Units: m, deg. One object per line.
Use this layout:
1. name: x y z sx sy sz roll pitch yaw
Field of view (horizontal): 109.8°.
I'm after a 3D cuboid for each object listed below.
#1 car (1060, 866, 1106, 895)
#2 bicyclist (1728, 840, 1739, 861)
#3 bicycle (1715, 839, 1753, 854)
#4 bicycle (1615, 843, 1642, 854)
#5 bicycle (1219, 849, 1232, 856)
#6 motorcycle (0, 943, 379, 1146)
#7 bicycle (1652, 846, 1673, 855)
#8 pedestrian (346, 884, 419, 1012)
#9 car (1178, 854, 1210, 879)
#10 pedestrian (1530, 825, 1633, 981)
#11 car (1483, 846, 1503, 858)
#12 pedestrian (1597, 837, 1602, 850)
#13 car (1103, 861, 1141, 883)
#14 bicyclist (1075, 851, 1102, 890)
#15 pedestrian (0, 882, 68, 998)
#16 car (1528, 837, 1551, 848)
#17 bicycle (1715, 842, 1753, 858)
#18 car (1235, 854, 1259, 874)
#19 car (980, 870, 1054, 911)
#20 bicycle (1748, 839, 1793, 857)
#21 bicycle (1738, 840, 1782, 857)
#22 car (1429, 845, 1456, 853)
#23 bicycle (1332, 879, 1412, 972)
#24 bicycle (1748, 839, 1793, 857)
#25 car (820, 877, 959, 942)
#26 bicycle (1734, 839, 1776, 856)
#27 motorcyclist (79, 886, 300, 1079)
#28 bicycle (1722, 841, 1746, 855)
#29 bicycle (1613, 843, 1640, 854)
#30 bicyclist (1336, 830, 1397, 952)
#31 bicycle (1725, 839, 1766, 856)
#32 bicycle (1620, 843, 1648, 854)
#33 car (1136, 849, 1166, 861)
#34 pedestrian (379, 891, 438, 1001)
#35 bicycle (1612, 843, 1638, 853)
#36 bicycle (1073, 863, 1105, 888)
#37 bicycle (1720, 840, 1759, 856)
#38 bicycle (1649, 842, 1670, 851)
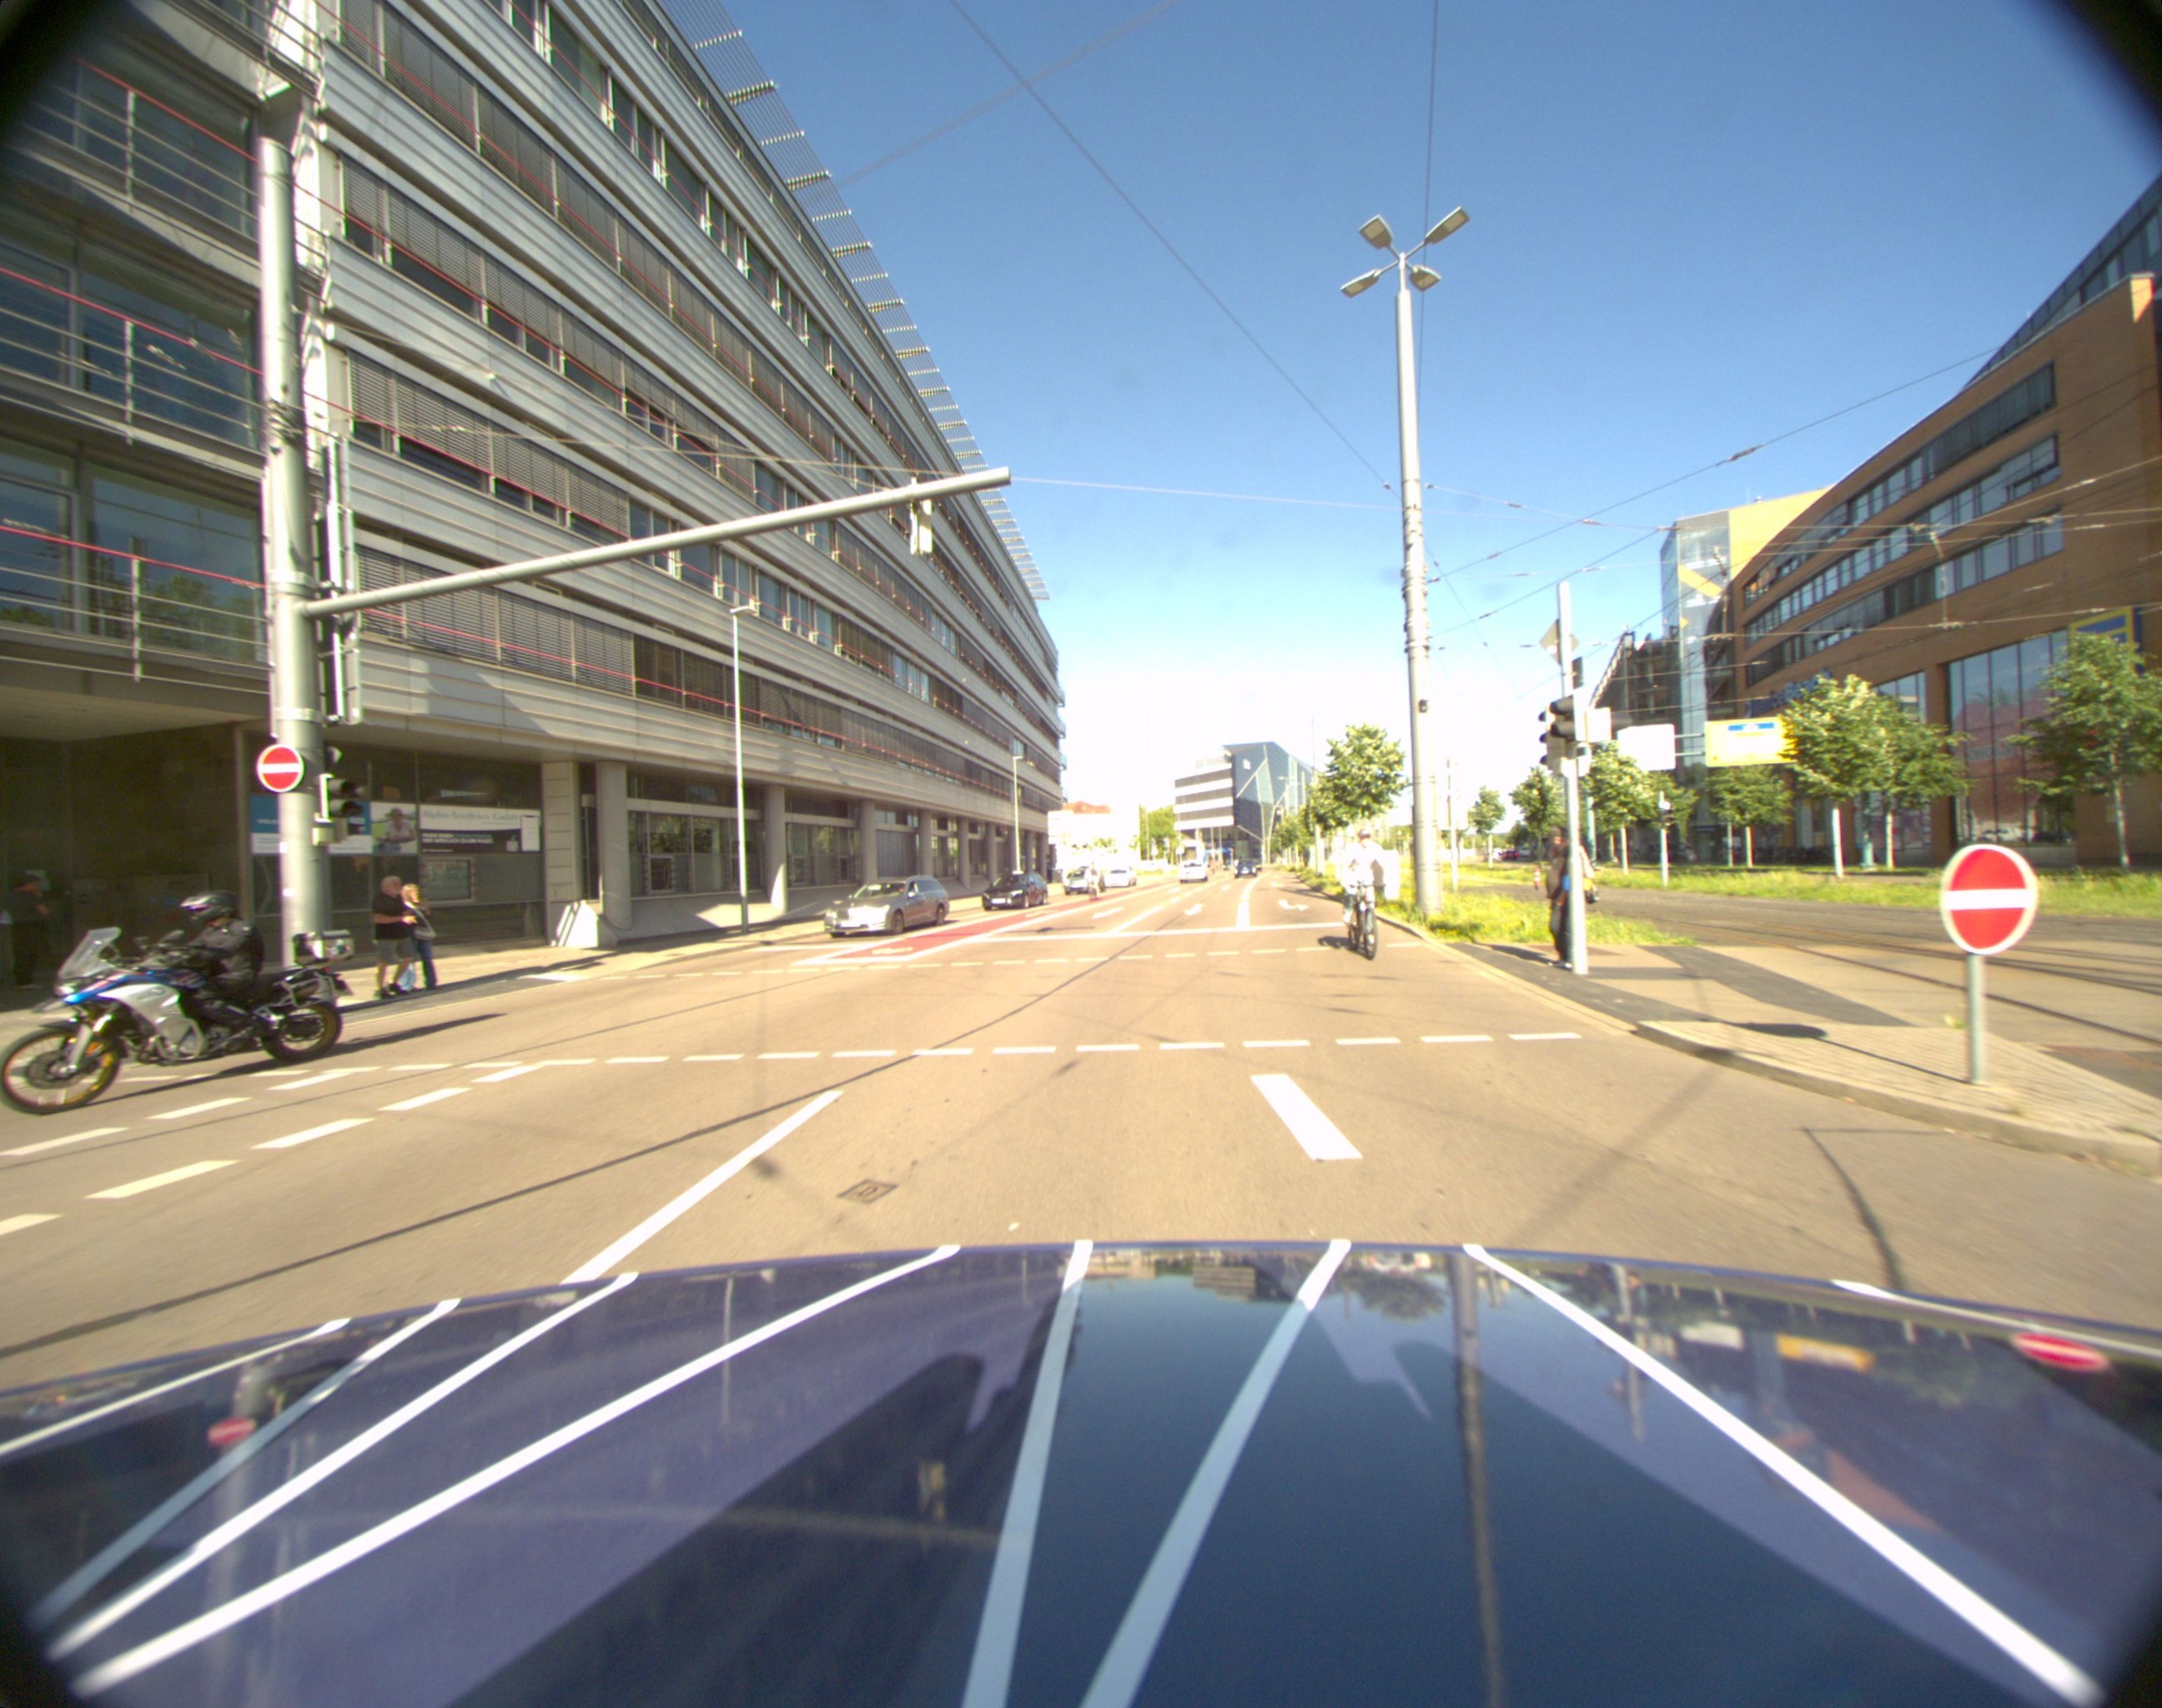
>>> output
1. car: 0.162 1.547 45.936 1.724 1.515 4.403 -2 0 14
2. bicyclist: 43.602 -0.246 50.760 0.341 1.369 0.482 -2 2 12
3. bicycle: 52.829 -0.582 61.500 2.175 1.116 0.754 -3 0 23
4. bicycle: 56.445 -0.565 78.361 2.175 0.949 0.493 -3 0 23
5. bicycle: 20.983 -0.164 110.246 1.703 0.948 0.698 -1 0 28
6. motorcycle: -8.033 1.564 6.847 0.830 1.194 2.392 -3 0 13
7. bicycle: 54.154 -0.325 70.719 1.448 0.814 0.446 -3 0 23
8. pedestrian: -10.270 1.347 11.194 0.609 1.787 0.639 0 0 -23
9. car: 8.506 0.888 56.856 1.871 1.621 4.342 -2 1 14
10. pedestrian: 5.900 0.556 8.989 0.671 1.742 0.769 -2 0 1
11. car: 48.804 -0.270 90.015 1.430 1.351 3.299 -2 0 16
12. pedestrian: 61.103 -1.194 89.522 0.490 1.510 0.650 -2 1 33
13. car: 3.016 1.280 55.231 1.775 1.395 4.298 -4 -1 16
14. bicyclist: 0.359 0.740 34.368 0.807 1.683 1.052 -4 0 19
15. pedestrian: -16.724 1.341 12.059 0.476 1.774 0.543 -2 1 0
16. car: 85.391 -2.149 141.446 5.266 2.002 2.222 -2 0 -41
17. bicycle: 51.837 -0.327 60.339 2.175 1.116 0.754 -3 0 23
18. car: 14.019 0.825 64.021 1.871 1.547 4.004 -2 0 14
19. car: -2.567 1.447 31.622 1.724 1.414 4.641 -3 0 12
20. bicycle: 48.453 -0.434 53.418 2.175 1.116 0.754 -3 0 23
21. bicycle: 49.257 -0.428 55.133 2.175 1.116 0.754 -3 0 23
22. car: 62.546 -0.879 131.534 3.991 1.084 2.003 -2 0 23
23. bicycle: 4.138 0.959 10.987 0.688 1.063 2.700 -4 -1 14
24. bicycle: 47.859 -0.394 52.761 2.175 1.116 0.754 -3 0 23
25. car: -5.102 1.455 21.032 1.724 1.388 4.792 -2 0 12
26. bicycle: 49.714 -0.468 56.070 2.175 1.116 0.754 -3 0 23
27. motorcyclist: -7.992 1.113 6.858 0.830 1.552 0.943 -3 0 13
28. bicycle: 43.600 -0.421 50.752 0.353 0.921 1.896 -2 1 12
29. bicycle: 56.719 -0.570 78.974 2.175 0.949 0.493 -3 0 23
30. bicyclist: 4.138 0.518 11.082 0.618 1.660 1.021 -4 0 14
31. bicycle: 50.464 -0.487 57.723 2.175 1.116 0.754 -3 0 23
32. bicycle: 56.526 -0.563 77.685 2.175 0.949 0.493 -3 0 23
33. car: 11.959 0.141 129.630 4.643 1.970 1.878 -2 0 25
34. pedestrian: -10.382 1.401 11.747 0.563 1.636 0.428 0 0 -23
35. bicycle: 56.936 -0.588 79.546 2.175 0.949 0.493 -3 0 23
36. bicycle: 0.371 0.946 34.317 0.826 1.030 1.894 -4 -1 19
37. bicycle: 51.269 -0.492 59.171 2.175 1.116 0.754 -3 0 23
38. bicycle: 54.844 -0.711 72.057 1.448 0.814 0.446 -3 0 23
